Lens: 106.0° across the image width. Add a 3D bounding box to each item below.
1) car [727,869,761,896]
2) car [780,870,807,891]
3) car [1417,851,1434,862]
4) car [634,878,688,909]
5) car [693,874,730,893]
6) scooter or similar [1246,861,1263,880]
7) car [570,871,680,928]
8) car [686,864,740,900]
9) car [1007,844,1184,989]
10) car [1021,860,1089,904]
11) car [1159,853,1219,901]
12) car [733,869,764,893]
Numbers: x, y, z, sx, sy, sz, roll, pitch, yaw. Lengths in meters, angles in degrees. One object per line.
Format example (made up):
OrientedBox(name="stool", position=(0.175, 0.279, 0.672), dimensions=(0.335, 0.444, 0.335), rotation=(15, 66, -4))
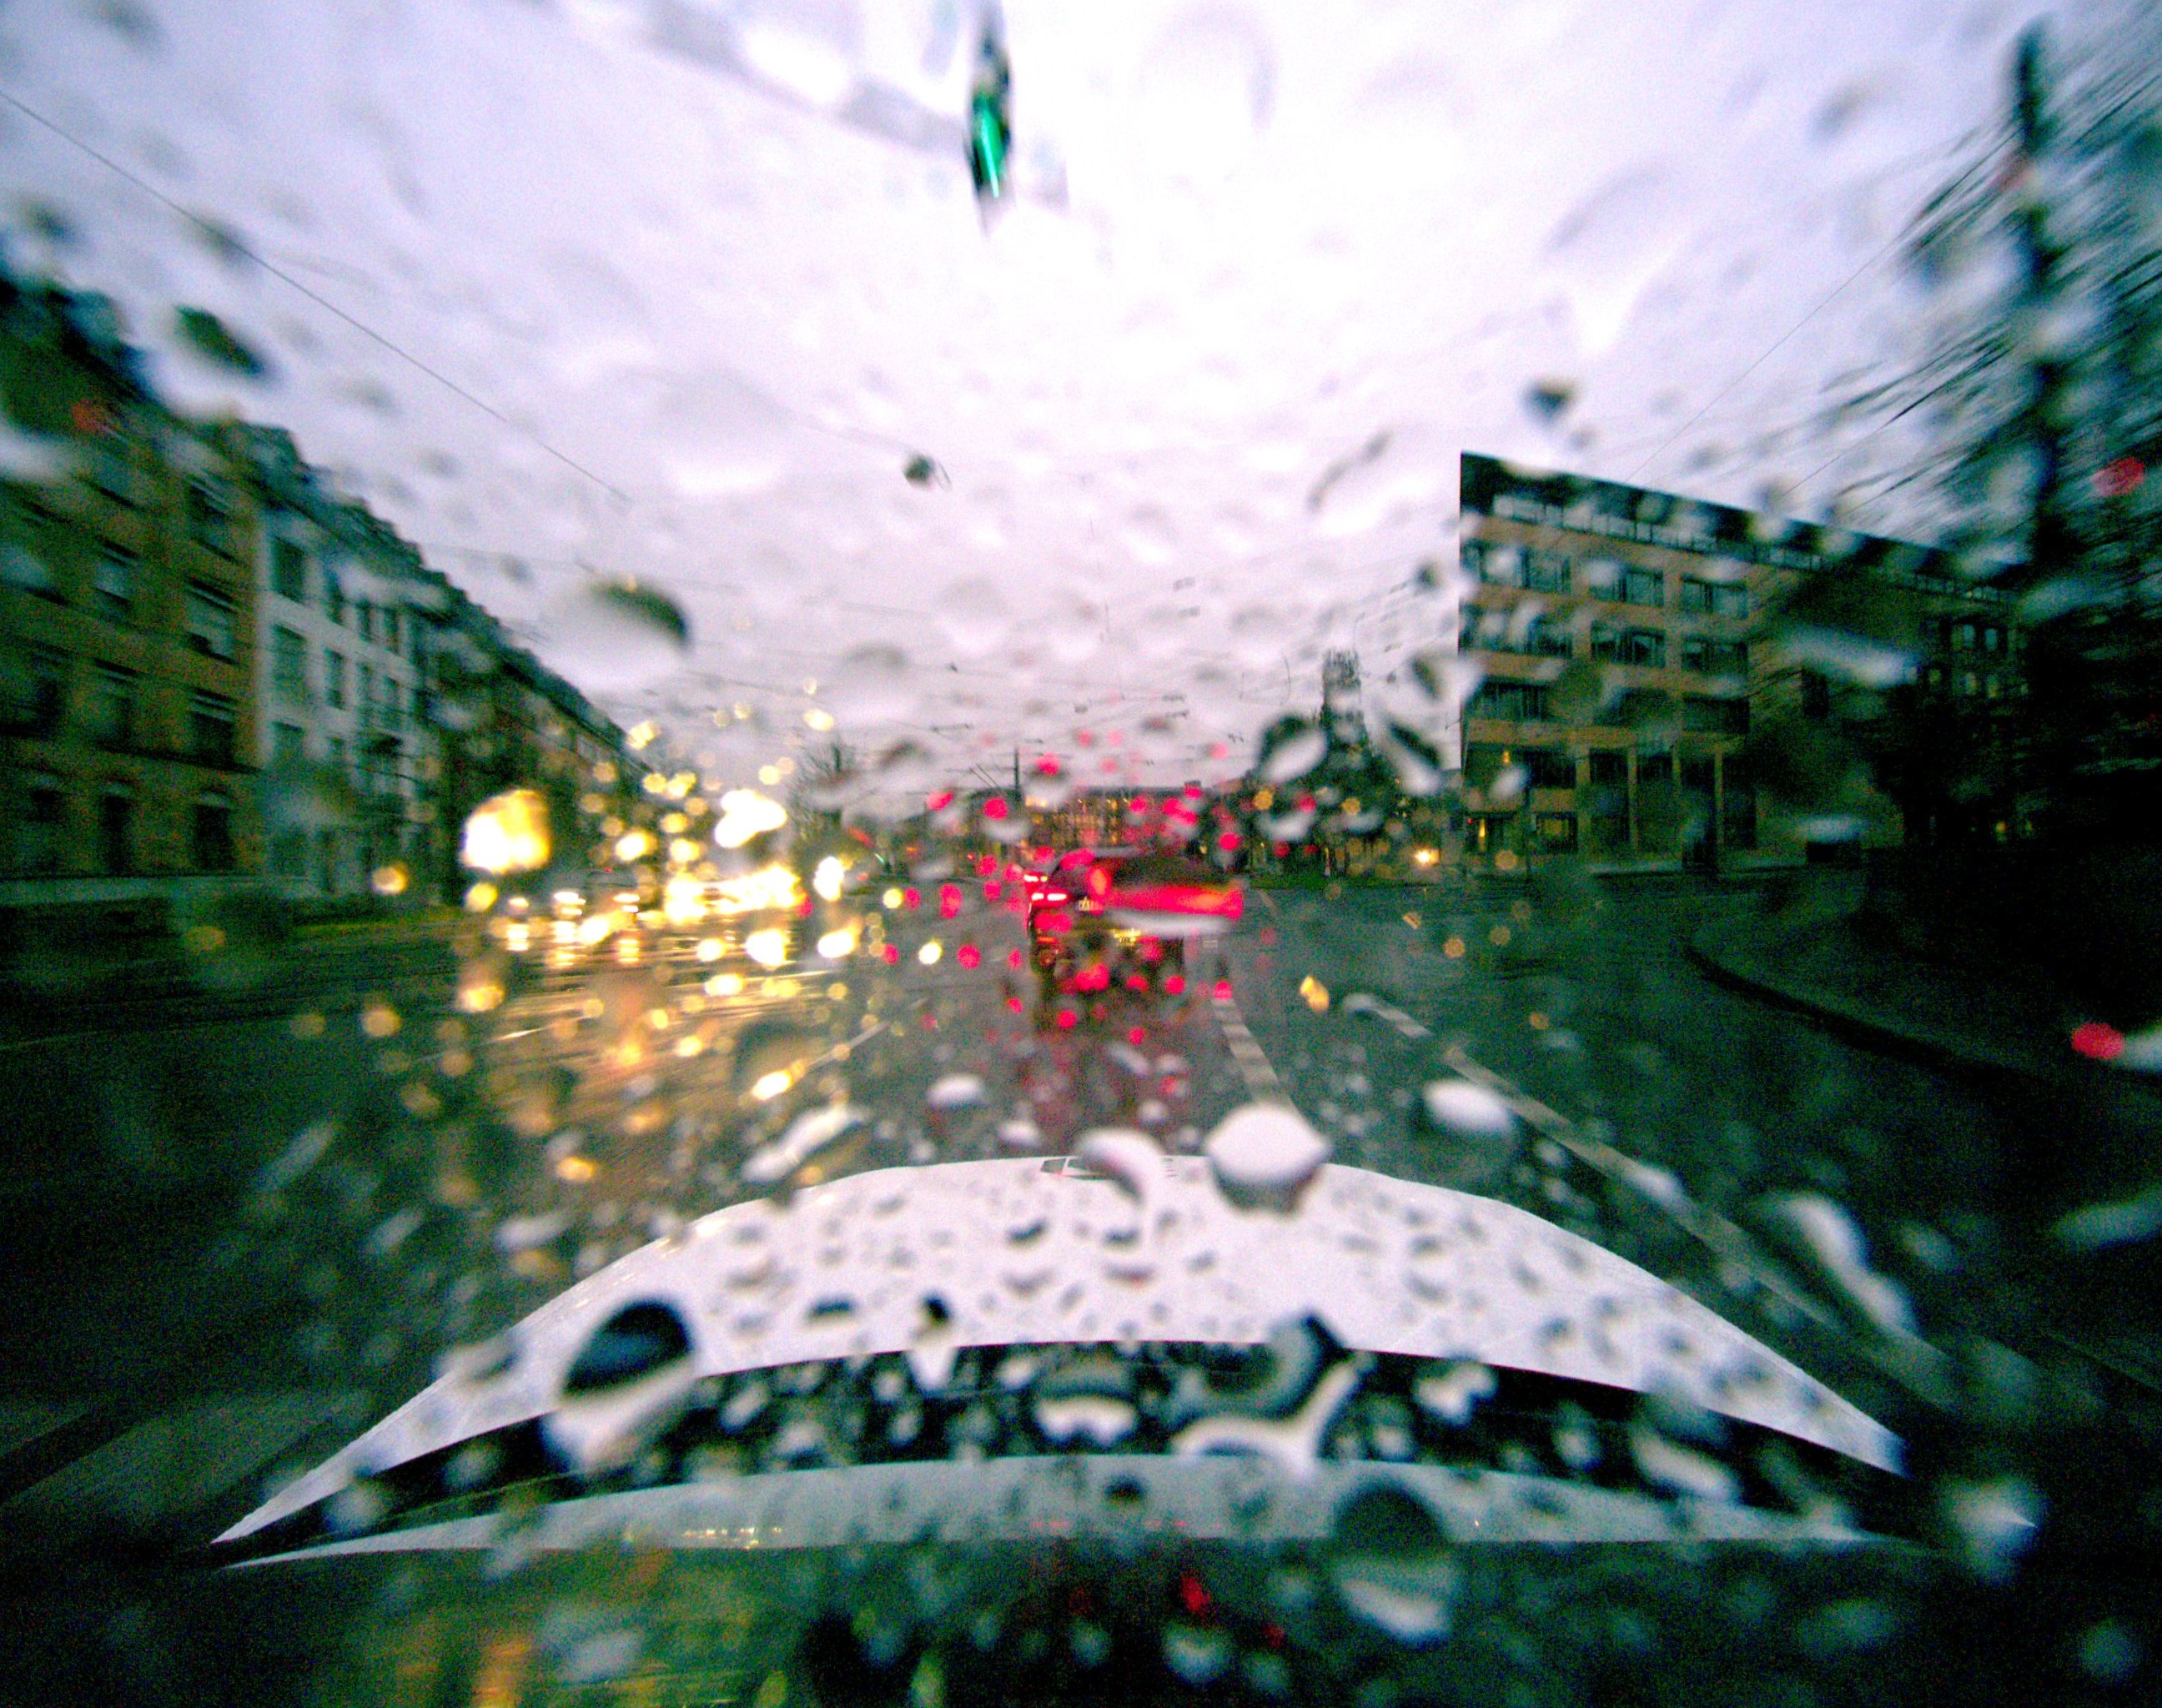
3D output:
OrientedBox(name="car", position=(-19.654, 1.645, 47.525), dimensions=(1.490, 1.487, 3.135), rotation=(-1, -1, -17))
OrientedBox(name="car", position=(-18.818, 1.686, 53.209), dimensions=(1.542, 1.245, 4.058), rotation=(-1, 0, -21))
OrientedBox(name="car", position=(38.193, 0.272, 90.272), dimensions=(1.652, 1.181, 3.729), rotation=(-2, 0, 25))
OrientedBox(name="car", position=(-20.708, 1.909, 40.323), dimensions=(1.685, 1.354, 4.360), rotation=(-1, -1, -18))
OrientedBox(name="car", position=(-24.260, 1.886, 53.554), dimensions=(1.603, 1.134, 3.770), rotation=(-1, -1, -15))
OrientedBox(name="scooter or similar", position=(11.470, 1.071, 53.810), dimensions=(1.150, 1.232, 0.482), rotation=(-1, -1, -37))
OrientedBox(name="car", position=(-13.340, 1.273, 24.081), dimensions=(1.681, 1.457, 4.046), rotation=(-1, -1, -12))
OrientedBox(name="car", position=(-16.424, 1.218, 36.527), dimensions=(1.684, 1.457, 4.308), rotation=(-1, -1, -18))
OrientedBox(name="car", position=(0.342, 0.723, 11.289), dimensions=(1.981, 1.616, 4.006), rotation=(-2, 0, 5))
OrientedBox(name="car", position=(-0.853, 0.935, 29.105), dimensions=(1.985, 1.398, 4.004), rotation=(-1, 0, 4))
OrientedBox(name="car", position=(4.343, 0.861, 32.246), dimensions=(1.980, 1.765, 4.014), rotation=(-2, 0, 12))
OrientedBox(name="car", position=(-23.879, 1.911, 58.568), dimensions=(1.684, 1.553, 4.097), rotation=(-1, -1, -17))
